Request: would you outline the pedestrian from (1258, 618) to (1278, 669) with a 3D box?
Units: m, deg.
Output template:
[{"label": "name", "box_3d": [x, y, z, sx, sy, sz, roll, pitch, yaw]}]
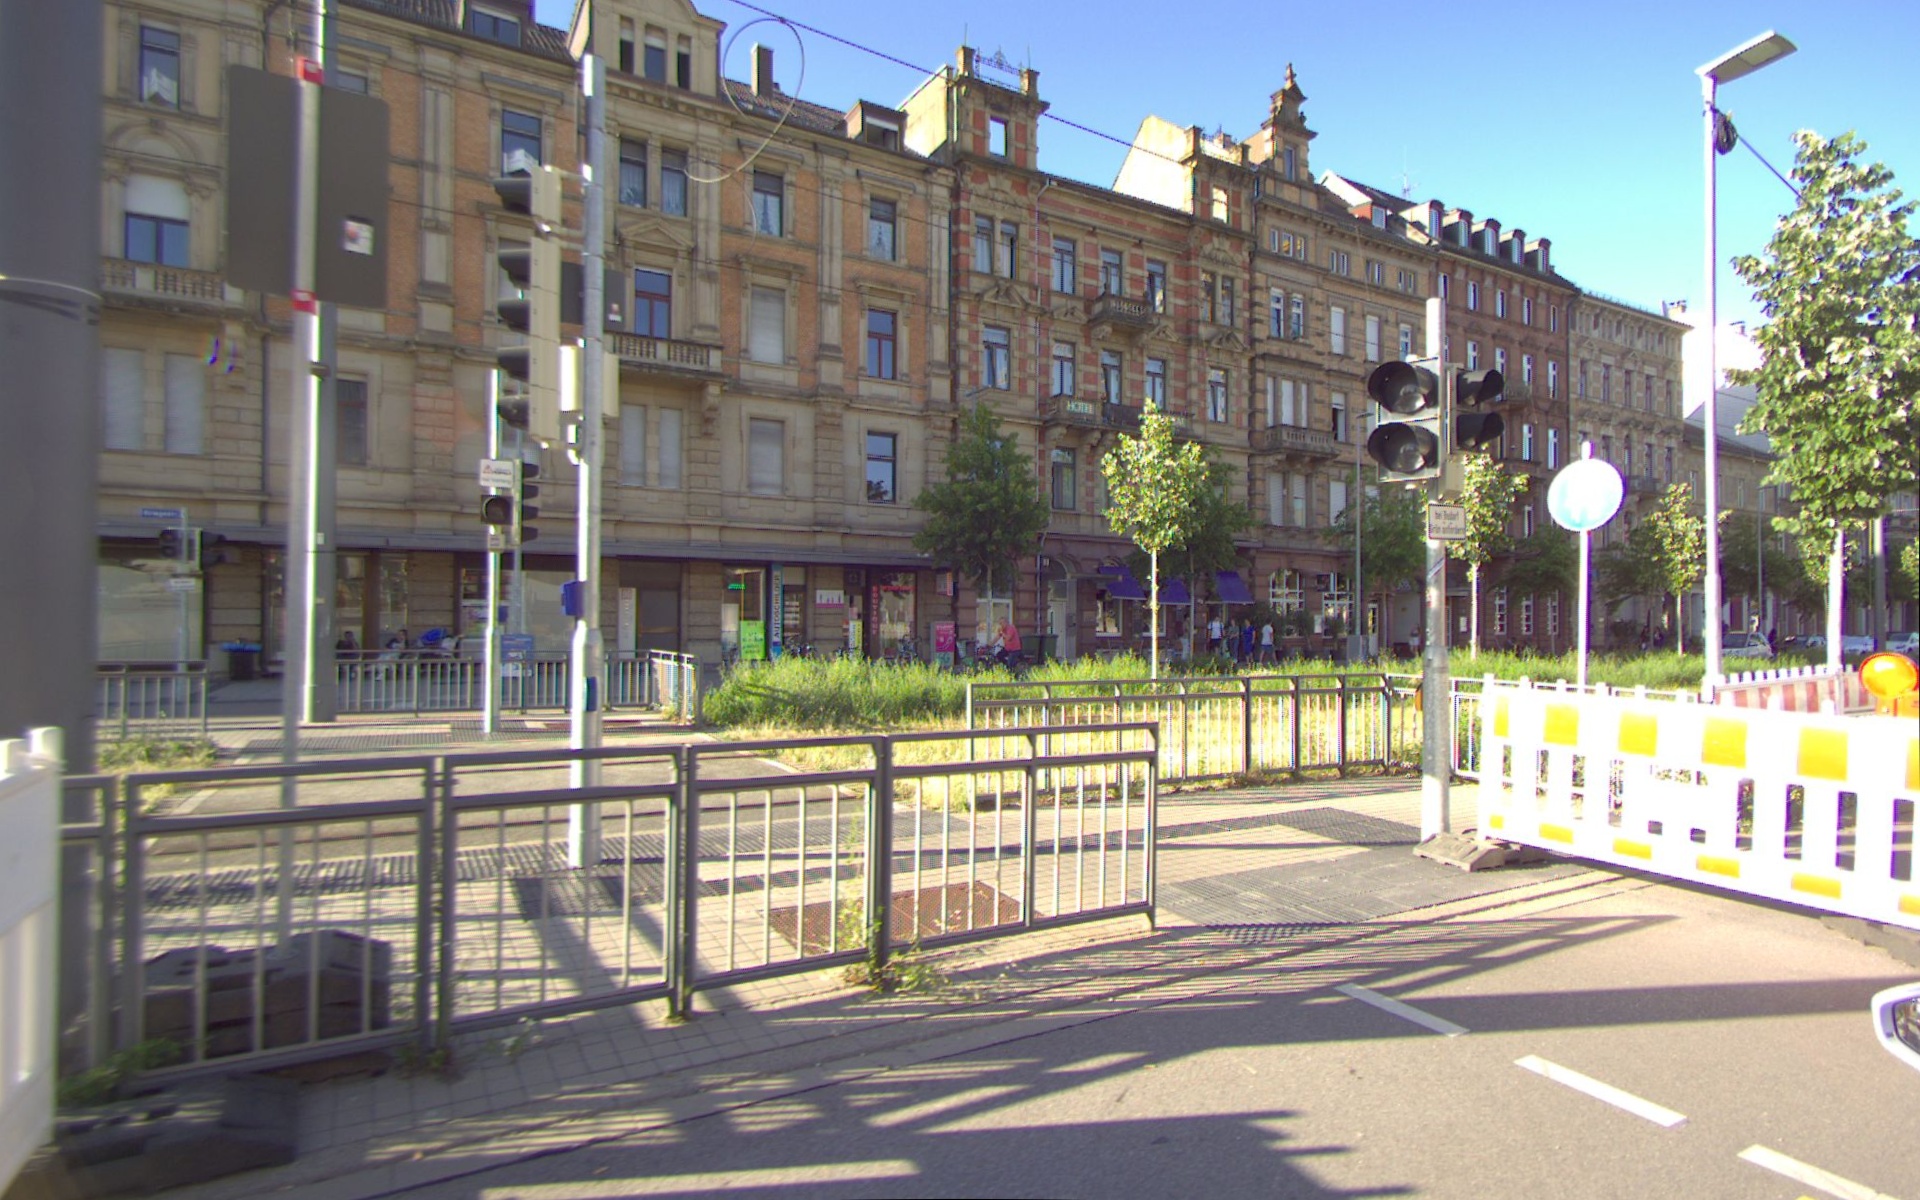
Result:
[{"label": "pedestrian", "box_3d": [11.072, 1.561, 36.107, 0.401, 1.788, 0.505, 1, 1, -30]}]

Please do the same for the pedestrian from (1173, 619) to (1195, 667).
[{"label": "pedestrian", "box_3d": [7.690, 1.478, 34.514, 0.527, 1.606, 0.484, 1, 1, -30]}]

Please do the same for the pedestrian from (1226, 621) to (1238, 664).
[{"label": "pedestrian", "box_3d": [10.342, 1.620, 38.122, 0.361, 1.606, 0.406, 2, 1, 21]}]

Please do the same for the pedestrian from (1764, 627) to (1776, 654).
[{"label": "pedestrian", "box_3d": [47.278, 2.336, 58.621, 0.430, 1.553, 0.403, 1, 1, -30]}]

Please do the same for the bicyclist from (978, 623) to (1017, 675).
[{"label": "bicyclist", "box_3d": [0.920, 1.194, 24.638, 0.729, 1.256, 0.634, 1, -1, -29]}]

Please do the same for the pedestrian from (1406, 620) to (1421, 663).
[{"label": "pedestrian", "box_3d": [19.323, 1.755, 42.798, 0.401, 1.788, 0.365, 1, 1, -30]}]

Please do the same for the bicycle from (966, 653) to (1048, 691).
[{"label": "bicycle", "box_3d": [1.168, 1.760, 24.775, 2.006, 0.869, 0.634, 1, -1, -29]}]

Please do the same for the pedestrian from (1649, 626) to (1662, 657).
[{"label": "pedestrian", "box_3d": [36.658, 2.189, 52.937, 0.335, 1.606, 0.427, 1, 1, -29]}]

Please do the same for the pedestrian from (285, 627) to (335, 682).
[{"label": "pedestrian", "box_3d": [-15.360, 1.271, 23.760, 0.918, 1.263, 0.687, 1, -1, -29]}]

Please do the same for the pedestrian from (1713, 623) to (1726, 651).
[{"label": "pedestrian", "box_3d": [44.078, 2.142, 58.324, 0.431, 1.606, 0.457, 1, 1, -37]}]

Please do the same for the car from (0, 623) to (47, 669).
[{"label": "car", "box_3d": [-30.746, 1.464, 32.320, 1.564, 1.427, 3.034, 1, -2, -34]}]

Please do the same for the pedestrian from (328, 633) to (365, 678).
[{"label": "pedestrian", "box_3d": [-15.148, 1.360, 24.819, 0.727, 1.073, 0.687, 1, -1, -29]}]

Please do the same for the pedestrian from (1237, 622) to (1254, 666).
[{"label": "pedestrian", "box_3d": [10.538, 1.618, 37.079, 0.421, 1.606, 0.401, 1, 1, -30]}]

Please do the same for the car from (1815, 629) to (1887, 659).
[{"label": "car", "box_3d": [47.805, 2.327, 53.889, 4.659, 1.583, 1.559, 1, -2, -31]}]

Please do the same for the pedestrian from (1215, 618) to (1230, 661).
[{"label": "pedestrian", "box_3d": [10.012, 1.510, 38.329, 0.474, 1.606, 0.482, 2, 1, 20]}]

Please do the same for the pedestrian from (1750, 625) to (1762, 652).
[{"label": "pedestrian", "box_3d": [47.123, 2.278, 59.440, 0.430, 1.555, 0.403, 1, 1, -30]}]

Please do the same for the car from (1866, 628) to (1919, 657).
[{"label": "car", "box_3d": [53.413, 2.393, 57.122, 4.660, 1.583, 1.559, 1, -2, -31]}]

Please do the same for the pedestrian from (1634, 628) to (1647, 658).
[{"label": "pedestrian", "box_3d": [36.245, 2.286, 53.509, 0.381, 1.606, 0.431, 1, 1, -33]}]

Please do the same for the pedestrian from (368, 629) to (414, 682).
[{"label": "pedestrian", "box_3d": [-13.670, 1.324, 24.161, 0.918, 1.224, 0.788, 1, -1, -29]}]

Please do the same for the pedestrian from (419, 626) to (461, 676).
[{"label": "pedestrian", "box_3d": [-13.112, 1.283, 25.323, 0.918, 1.224, 0.687, 1, -1, -29]}]

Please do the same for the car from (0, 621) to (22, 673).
[{"label": "car", "box_3d": [-28.706, 1.374, 29.360, 1.369, 1.487, 3.125, 1, -2, -34]}]

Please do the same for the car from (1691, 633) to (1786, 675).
[{"label": "car", "box_3d": [29.440, 2.020, 37.976, 3.579, 1.502, 1.588, 1, -1, -29]}]

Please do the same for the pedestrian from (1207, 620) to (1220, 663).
[{"label": "pedestrian", "box_3d": [9.644, 1.588, 38.235, 0.383, 1.606, 0.386, 1, 1, 1]}]
